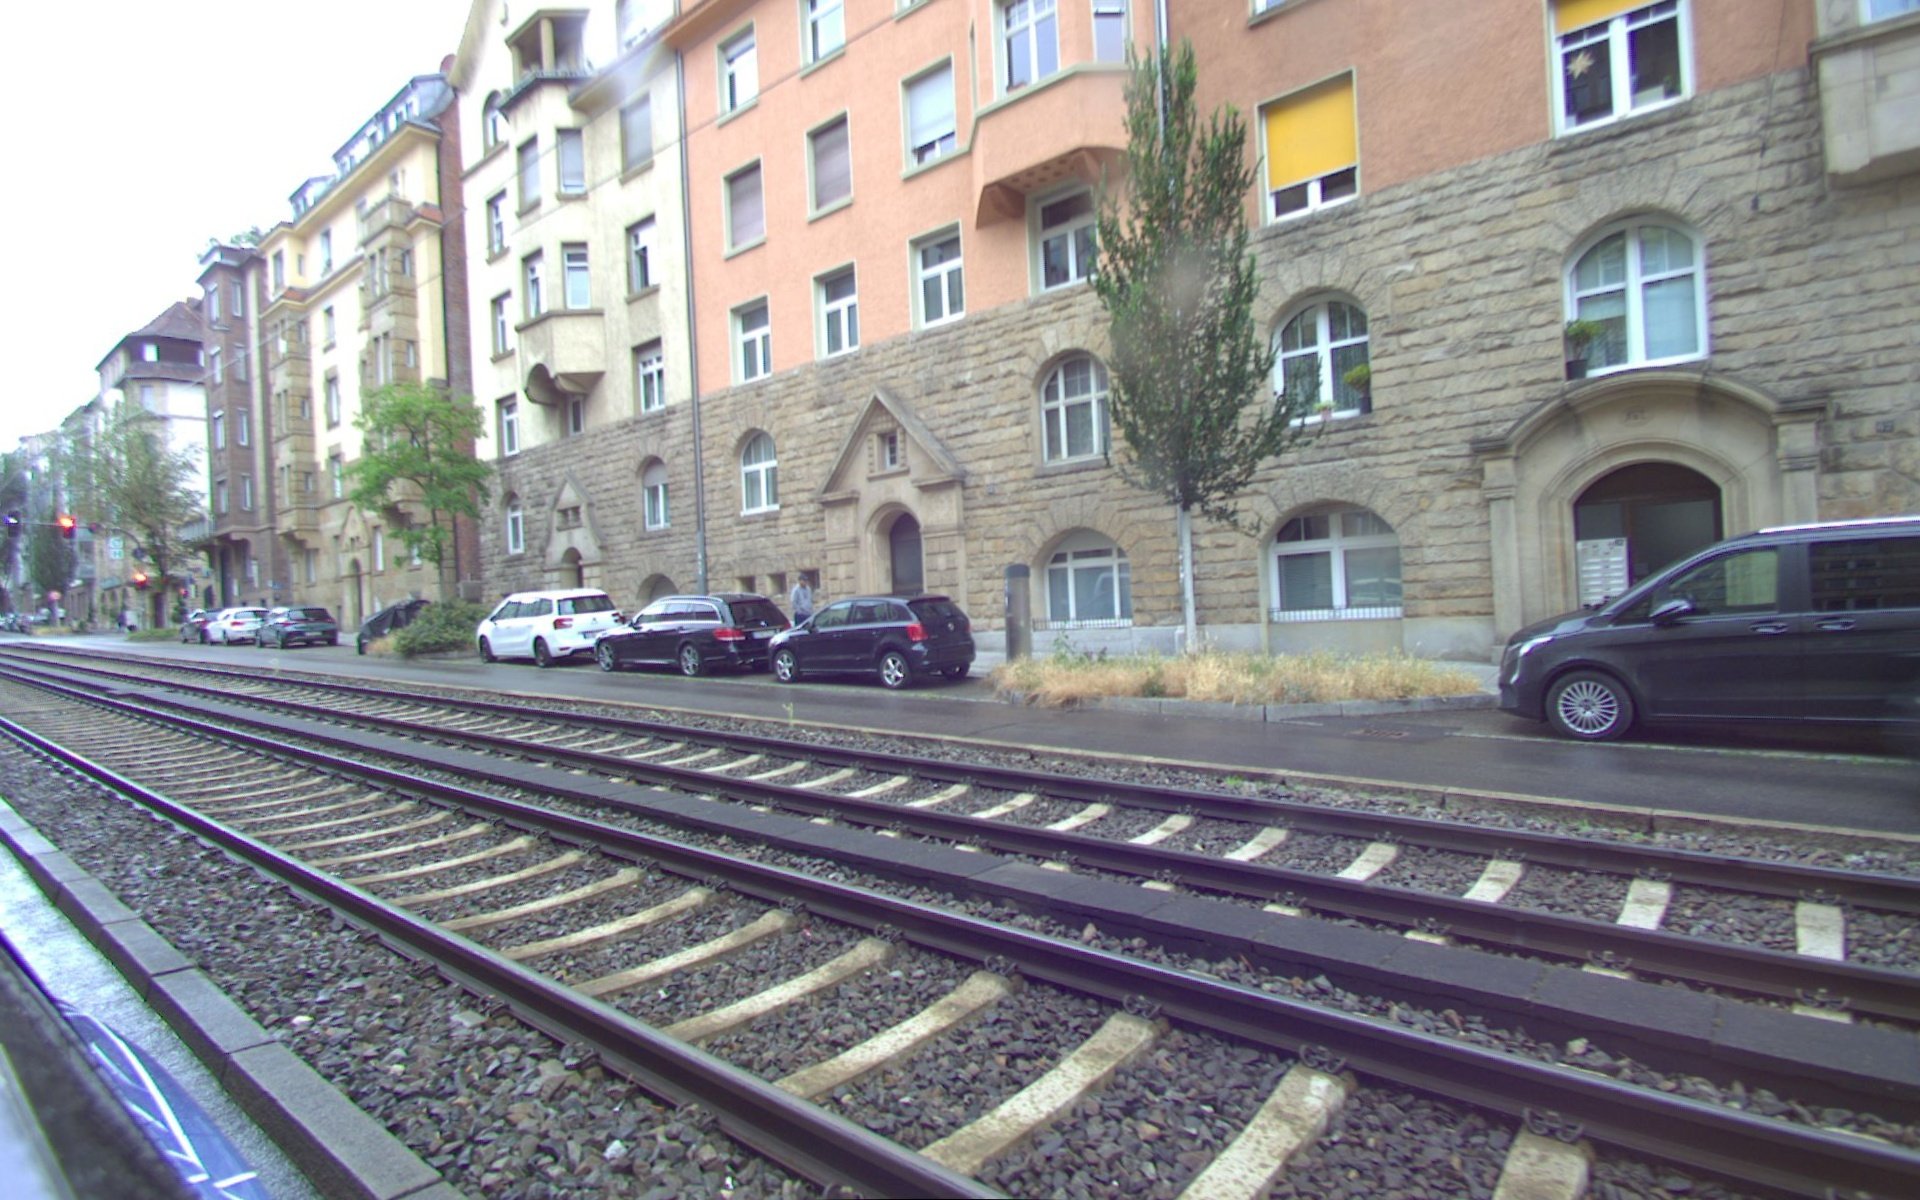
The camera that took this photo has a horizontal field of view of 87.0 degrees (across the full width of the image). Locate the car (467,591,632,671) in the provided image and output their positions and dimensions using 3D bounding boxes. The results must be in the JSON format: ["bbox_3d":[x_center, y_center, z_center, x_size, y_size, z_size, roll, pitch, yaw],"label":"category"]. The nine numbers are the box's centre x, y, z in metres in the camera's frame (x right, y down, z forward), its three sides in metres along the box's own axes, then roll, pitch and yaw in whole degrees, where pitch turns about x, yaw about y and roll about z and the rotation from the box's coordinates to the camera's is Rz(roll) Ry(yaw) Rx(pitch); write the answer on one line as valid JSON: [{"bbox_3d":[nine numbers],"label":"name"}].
[{"bbox_3d":[-9.573,0.690,23.470,4.144,1.668,1.843,-1,0,41],"label":"car"}]

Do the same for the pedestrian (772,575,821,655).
[{"bbox_3d":[-3.470,0.310,21.448,0.765,1.654,0.692,-1,0,41],"label":"pedestrian"}]

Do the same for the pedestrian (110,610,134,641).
[{"bbox_3d":[-55.653,1.685,67.197,1.163,1.972,1.042,-1,0,43],"label":"pedestrian"}]

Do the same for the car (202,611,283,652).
[{"bbox_3d":[-28.114,1.202,39.621,4.030,1.452,1.748,-1,1,42],"label":"car"}]

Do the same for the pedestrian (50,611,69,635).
[{"bbox_3d":[-74.754,1.915,84.004,1.163,1.972,1.042,-1,0,43],"label":"pedestrian"}]

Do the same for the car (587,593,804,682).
[{"bbox_3d":[-5.266,0.685,19.797,4.599,1.506,1.824,-1,0,41],"label":"car"}]

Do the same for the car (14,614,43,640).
[{"bbox_3d":[-68.873,1.988,74.829,1.561,1.691,3.794,-2,2,-43],"label":"car"}]

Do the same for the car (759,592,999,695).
[{"bbox_3d":[-1.384,0.656,16.776,3.638,1.508,1.912,-1,0,38],"label":"car"}]

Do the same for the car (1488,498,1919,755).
[{"bbox_3d":[7.519,0.202,8.842,4.823,1.956,1.973,-1,0,41],"label":"car"}]

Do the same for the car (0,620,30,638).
[{"bbox_3d":[-74.122,2.277,79.194,3.843,1.321,1.563,-1,0,41],"label":"car"}]

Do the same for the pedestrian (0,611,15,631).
[{"bbox_3d":[-95.441,2.080,101.126,1.379,1.972,1.362,-1,0,43],"label":"pedestrian"}]

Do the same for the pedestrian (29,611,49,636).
[{"bbox_3d":[-75.580,1.926,83.035,1.163,1.972,1.042,-1,0,43],"label":"pedestrian"}]

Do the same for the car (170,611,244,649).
[{"bbox_3d":[-31.973,1.257,42.943,3.843,1.452,1.748,-1,0,41],"label":"car"}]

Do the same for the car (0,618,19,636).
[{"bbox_3d":[-80.749,2.286,85.266,3.843,1.527,1.748,-1,0,41],"label":"car"}]

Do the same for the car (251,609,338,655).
[{"bbox_3d":[-23.513,1.086,35.718,3.845,1.452,1.656,-1,1,43],"label":"car"}]
